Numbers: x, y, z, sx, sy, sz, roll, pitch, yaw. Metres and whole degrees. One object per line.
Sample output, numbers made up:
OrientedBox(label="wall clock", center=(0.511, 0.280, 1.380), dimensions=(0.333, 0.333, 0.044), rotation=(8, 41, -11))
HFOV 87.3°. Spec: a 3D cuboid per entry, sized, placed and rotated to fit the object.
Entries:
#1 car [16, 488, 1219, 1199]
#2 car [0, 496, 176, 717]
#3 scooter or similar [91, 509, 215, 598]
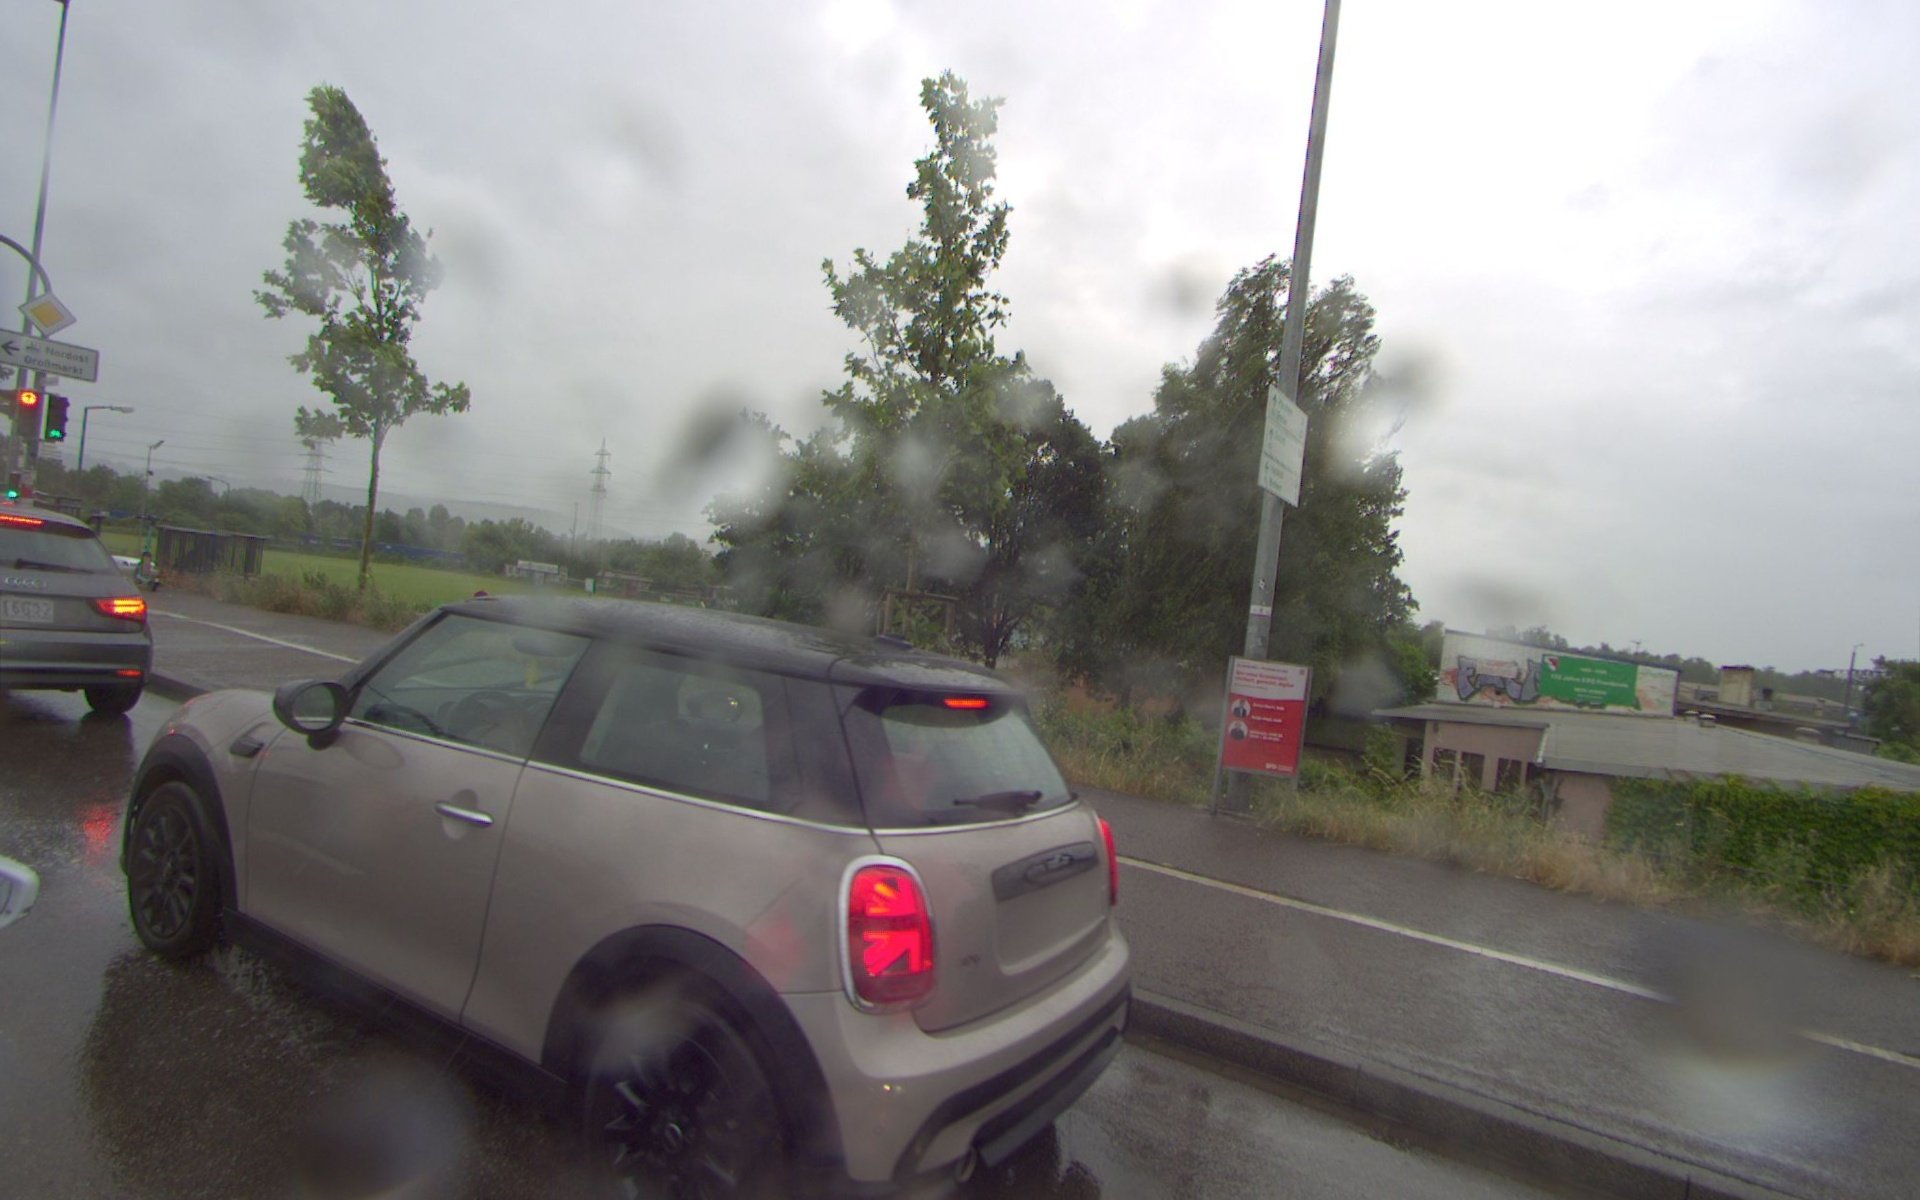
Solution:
OrientedBox(label="car", center=(-1.304, 0.593, 3.456), dimensions=(3.815, 1.525, 1.707), rotation=(5, -3, 31))
OrientedBox(label="car", center=(-7.504, -0.092, 7.257), dimensions=(3.569, 1.383, 1.600), rotation=(5, -1, 30))
OrientedBox(label="scooter or similar", center=(-13.873, -0.818, 17.248), dimensions=(2.971, 1.226, 0.691), rotation=(7, 0, 33))
